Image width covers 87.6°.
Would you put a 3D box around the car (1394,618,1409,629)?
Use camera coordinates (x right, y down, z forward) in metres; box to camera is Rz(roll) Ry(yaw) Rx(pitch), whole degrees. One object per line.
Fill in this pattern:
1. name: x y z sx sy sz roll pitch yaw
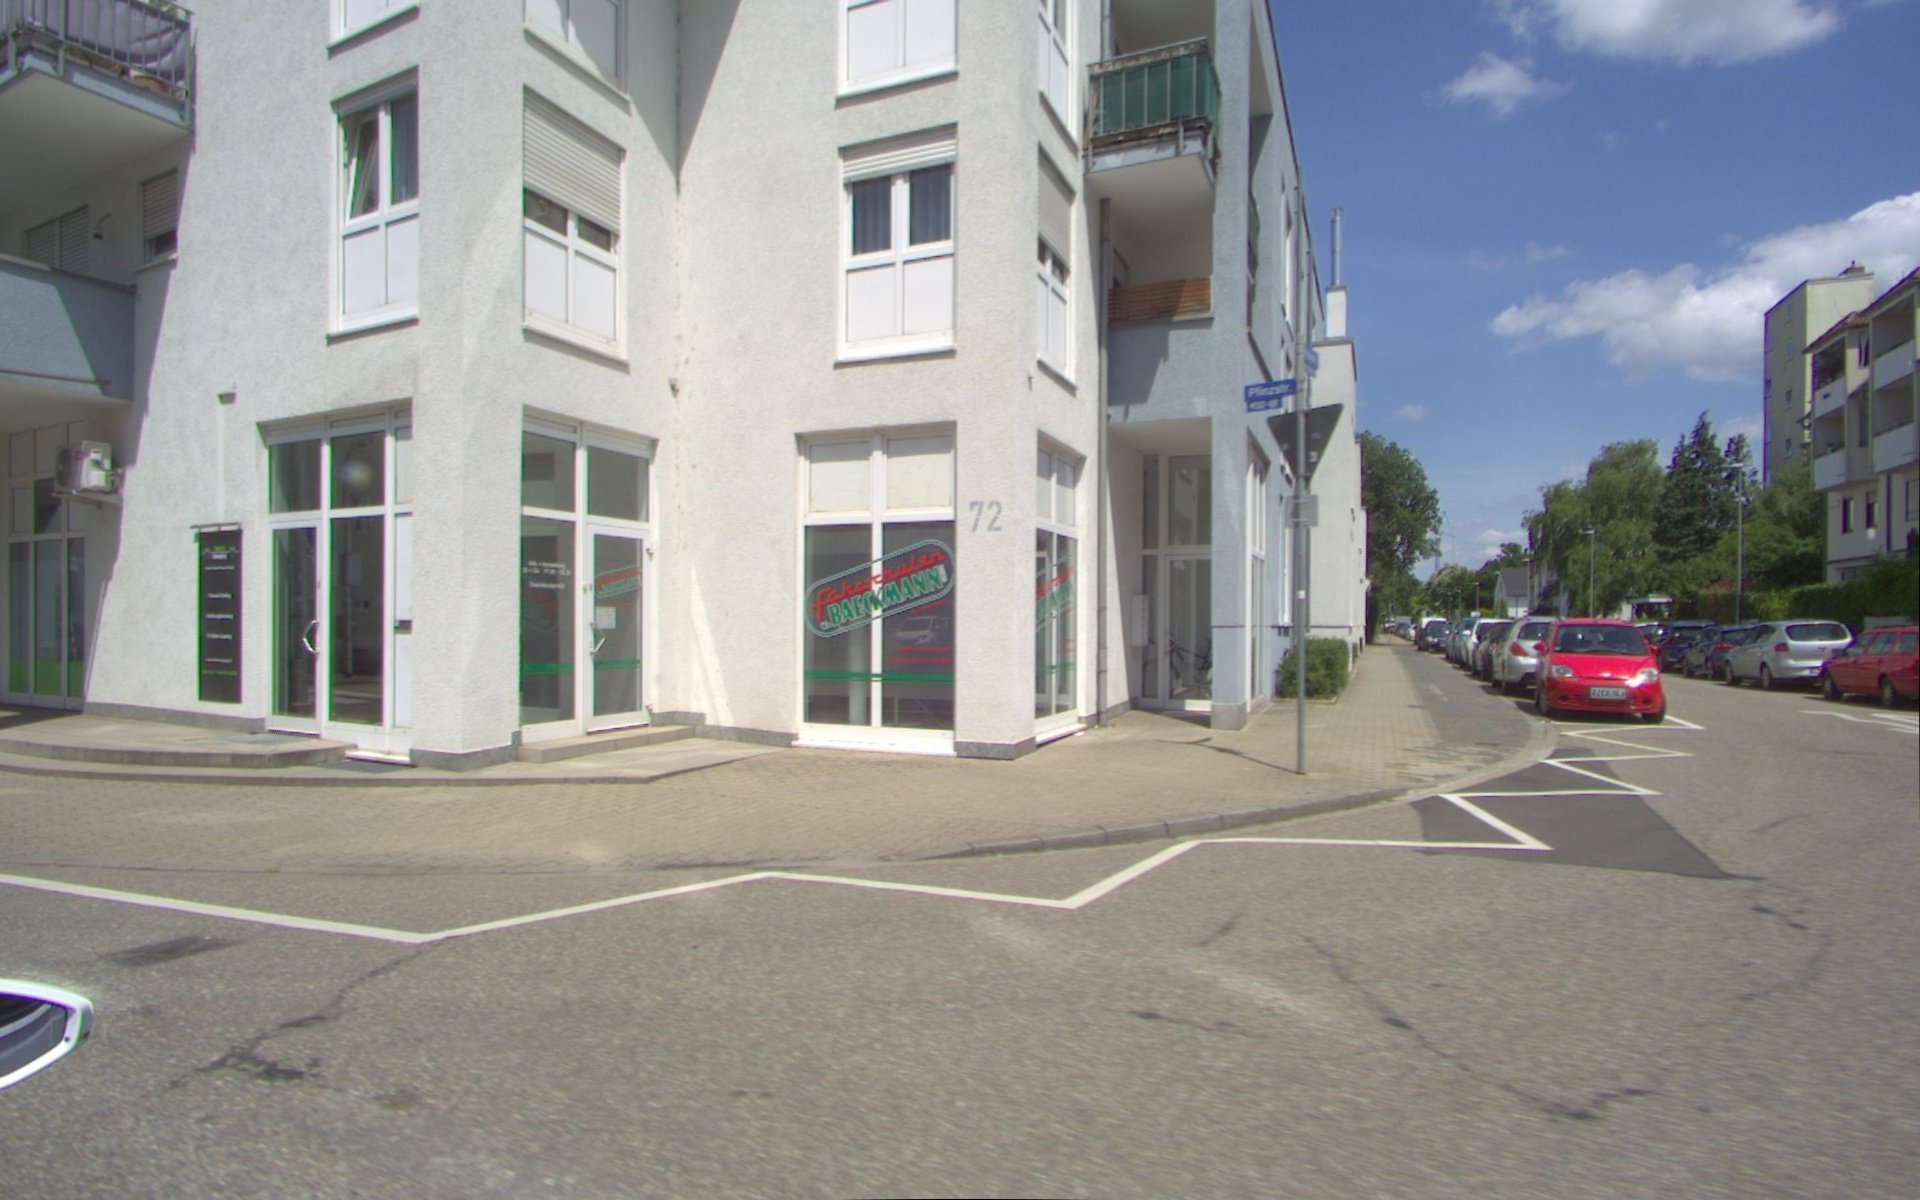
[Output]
1. car: 69.166 3.682 156.964 1.966 1.817 3.990 0 -1 22

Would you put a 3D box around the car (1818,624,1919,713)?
1. car: 17.438 1.191 18.223 1.626 1.485 3.778 0 -1 22

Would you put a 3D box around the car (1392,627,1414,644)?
1. car: 39.982 3.162 90.404 1.793 1.489 3.836 0 -1 23

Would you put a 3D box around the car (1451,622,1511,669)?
1. car: 17.523 1.499 33.812 1.627 1.485 3.572 0 -1 25

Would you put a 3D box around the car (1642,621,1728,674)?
1. car: 23.455 1.503 32.502 1.510 1.577 3.775 0 -1 24

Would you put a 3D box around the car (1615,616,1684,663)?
1. car: 25.868 1.471 37.644 1.646 1.697 3.412 0 -2 26

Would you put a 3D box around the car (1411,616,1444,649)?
1. car: 31.678 2.231 67.862 1.967 2.038 3.990 0 -3 25

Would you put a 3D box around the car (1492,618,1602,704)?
1. car: 11.348 1.126 19.559 1.511 1.485 3.774 0 -1 25

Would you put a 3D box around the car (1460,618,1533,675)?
1. car: 15.195 1.282 28.503 1.627 1.485 3.572 0 -1 25

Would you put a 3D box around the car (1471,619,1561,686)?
1. car: 13.332 1.217 24.185 1.627 1.485 3.774 0 -1 25

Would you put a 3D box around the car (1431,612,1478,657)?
1. car: 24.008 1.686 48.636 1.968 2.038 3.989 0 -3 27

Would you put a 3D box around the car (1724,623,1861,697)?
1. car: 19.363 1.344 23.453 1.510 1.577 3.775 0 -1 24

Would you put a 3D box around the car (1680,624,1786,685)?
1. car: 21.639 1.491 28.157 1.510 1.577 3.775 0 -1 24

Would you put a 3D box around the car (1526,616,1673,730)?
1. car: 9.858 1.045 15.652 1.571 1.561 3.506 0 -1 27

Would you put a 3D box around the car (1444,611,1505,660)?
1. car: 19.836 1.356 38.735 1.967 1.777 3.988 0 -2 25
